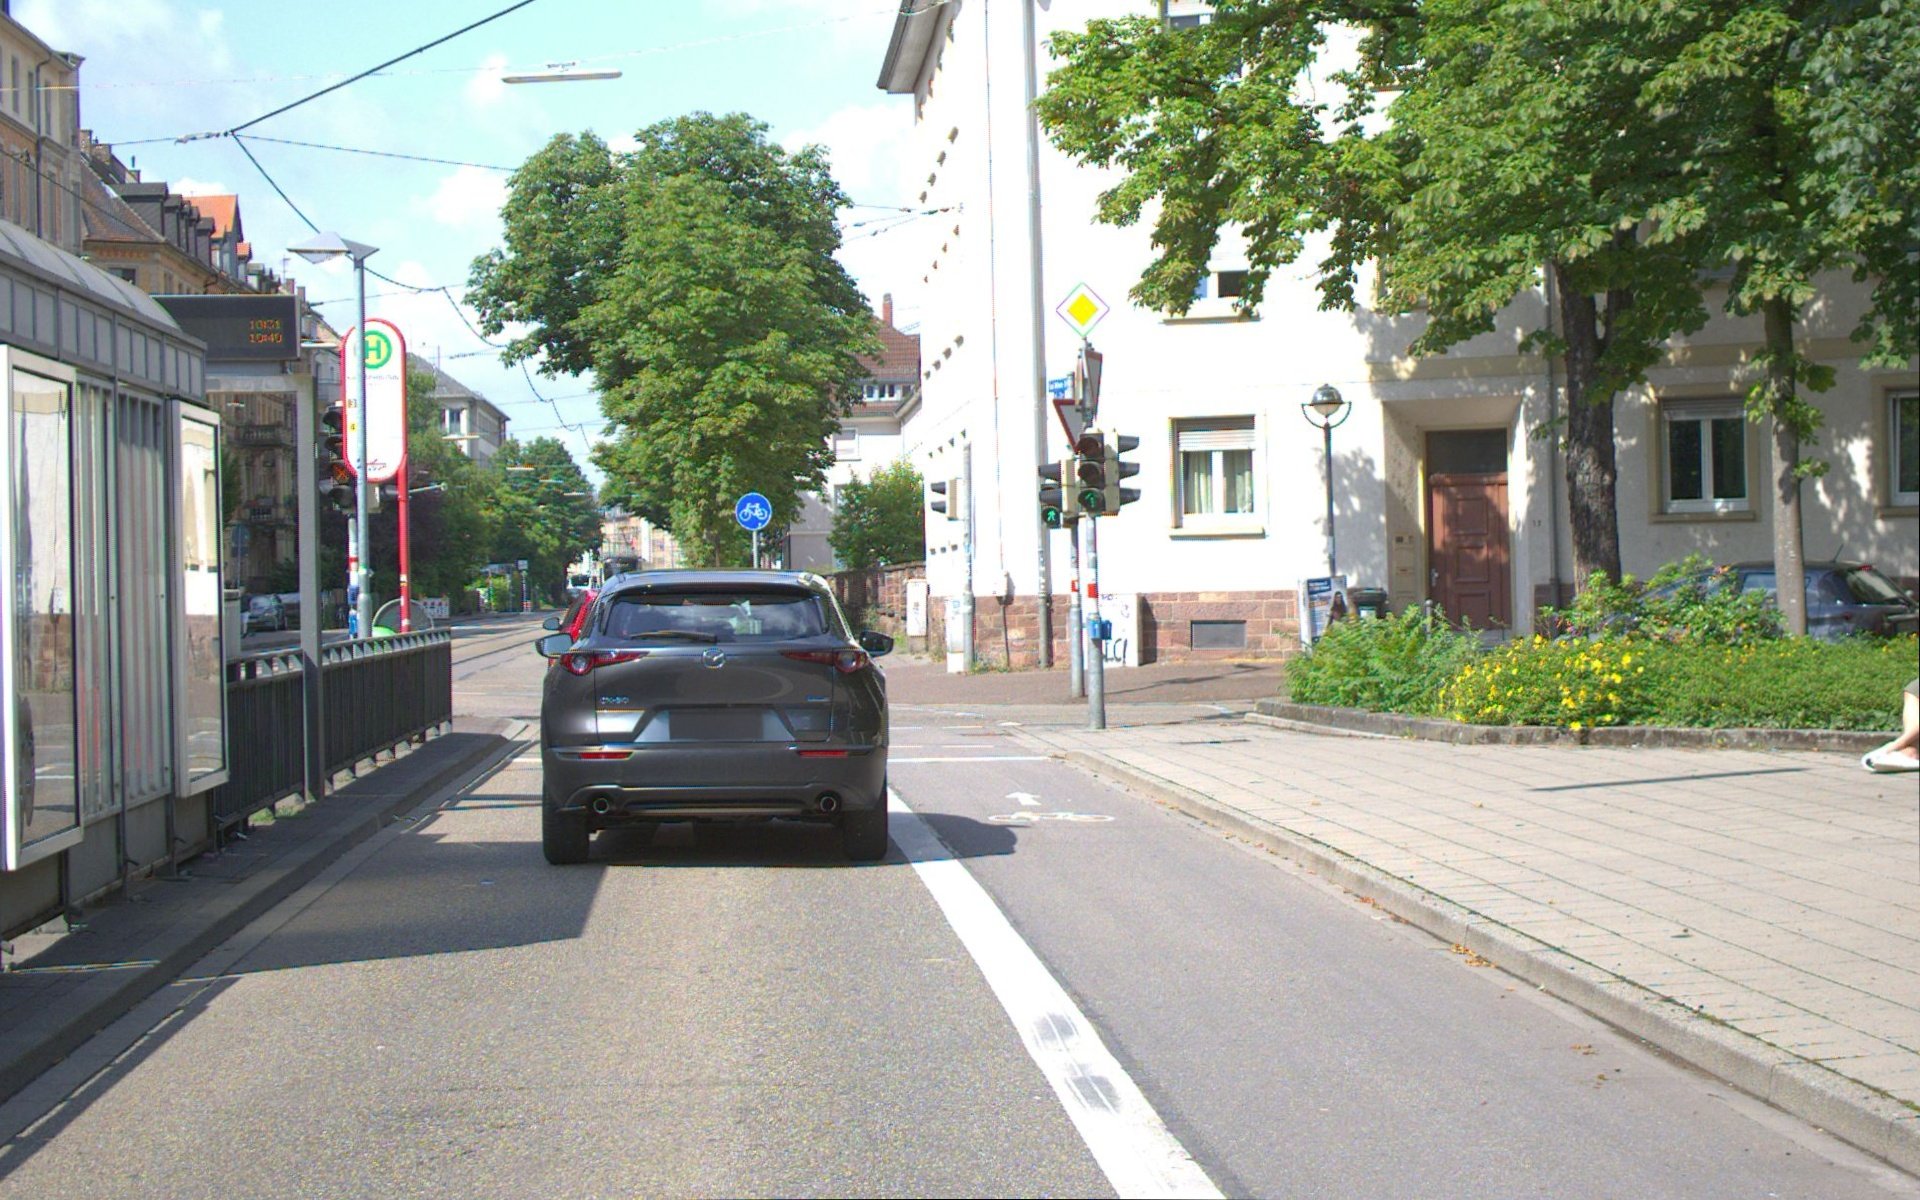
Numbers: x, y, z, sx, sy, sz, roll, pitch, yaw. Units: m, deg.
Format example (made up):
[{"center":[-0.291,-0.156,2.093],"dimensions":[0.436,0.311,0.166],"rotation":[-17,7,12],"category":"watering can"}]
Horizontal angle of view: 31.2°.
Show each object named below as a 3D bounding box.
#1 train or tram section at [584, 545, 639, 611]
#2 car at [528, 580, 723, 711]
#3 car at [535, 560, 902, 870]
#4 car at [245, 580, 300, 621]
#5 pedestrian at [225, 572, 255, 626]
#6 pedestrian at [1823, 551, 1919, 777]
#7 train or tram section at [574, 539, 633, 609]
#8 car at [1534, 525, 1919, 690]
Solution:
[{"center":[-22.344,-1.345,220.872],"dimensions":[2.997,3.970,13.810],"rotation":[-1,0,-4],"category":"train or tram section"},{"center":[-4.001,0.504,40.662],"dimensions":[1.774,1.459,3.843],"rotation":[0,0,-13],"category":"car"},{"center":[-1.382,0.564,18.975],"dimensions":[1.782,1.509,4.001],"rotation":[1,0,-6],"category":"car"},{"center":[-27.542,0.008,137.765],"dimensions":[1.656,1.590,3.930],"rotation":[-1,0,-4],"category":"car"},{"center":[-22.940,-0.039,109.566],"dimensions":[0.788,1.682,0.732],"rotation":[-1,0,-2],"category":"pedestrian"},{"center":[5.718,0.343,19.943],"dimensions":[1.192,1.265,0.558],"rotation":[-3,1,-8],"category":"pedestrian"},{"center":[-21.420,-1.486,207.199],"dimensions":[2.997,3.970,13.810],"rotation":[-1,0,-4],"category":"train or tram section"},{"center":[8.001,0.068,34.004],"dimensions":[4.167,1.504,1.848],"rotation":[-1,2,39],"category":"car"}]
